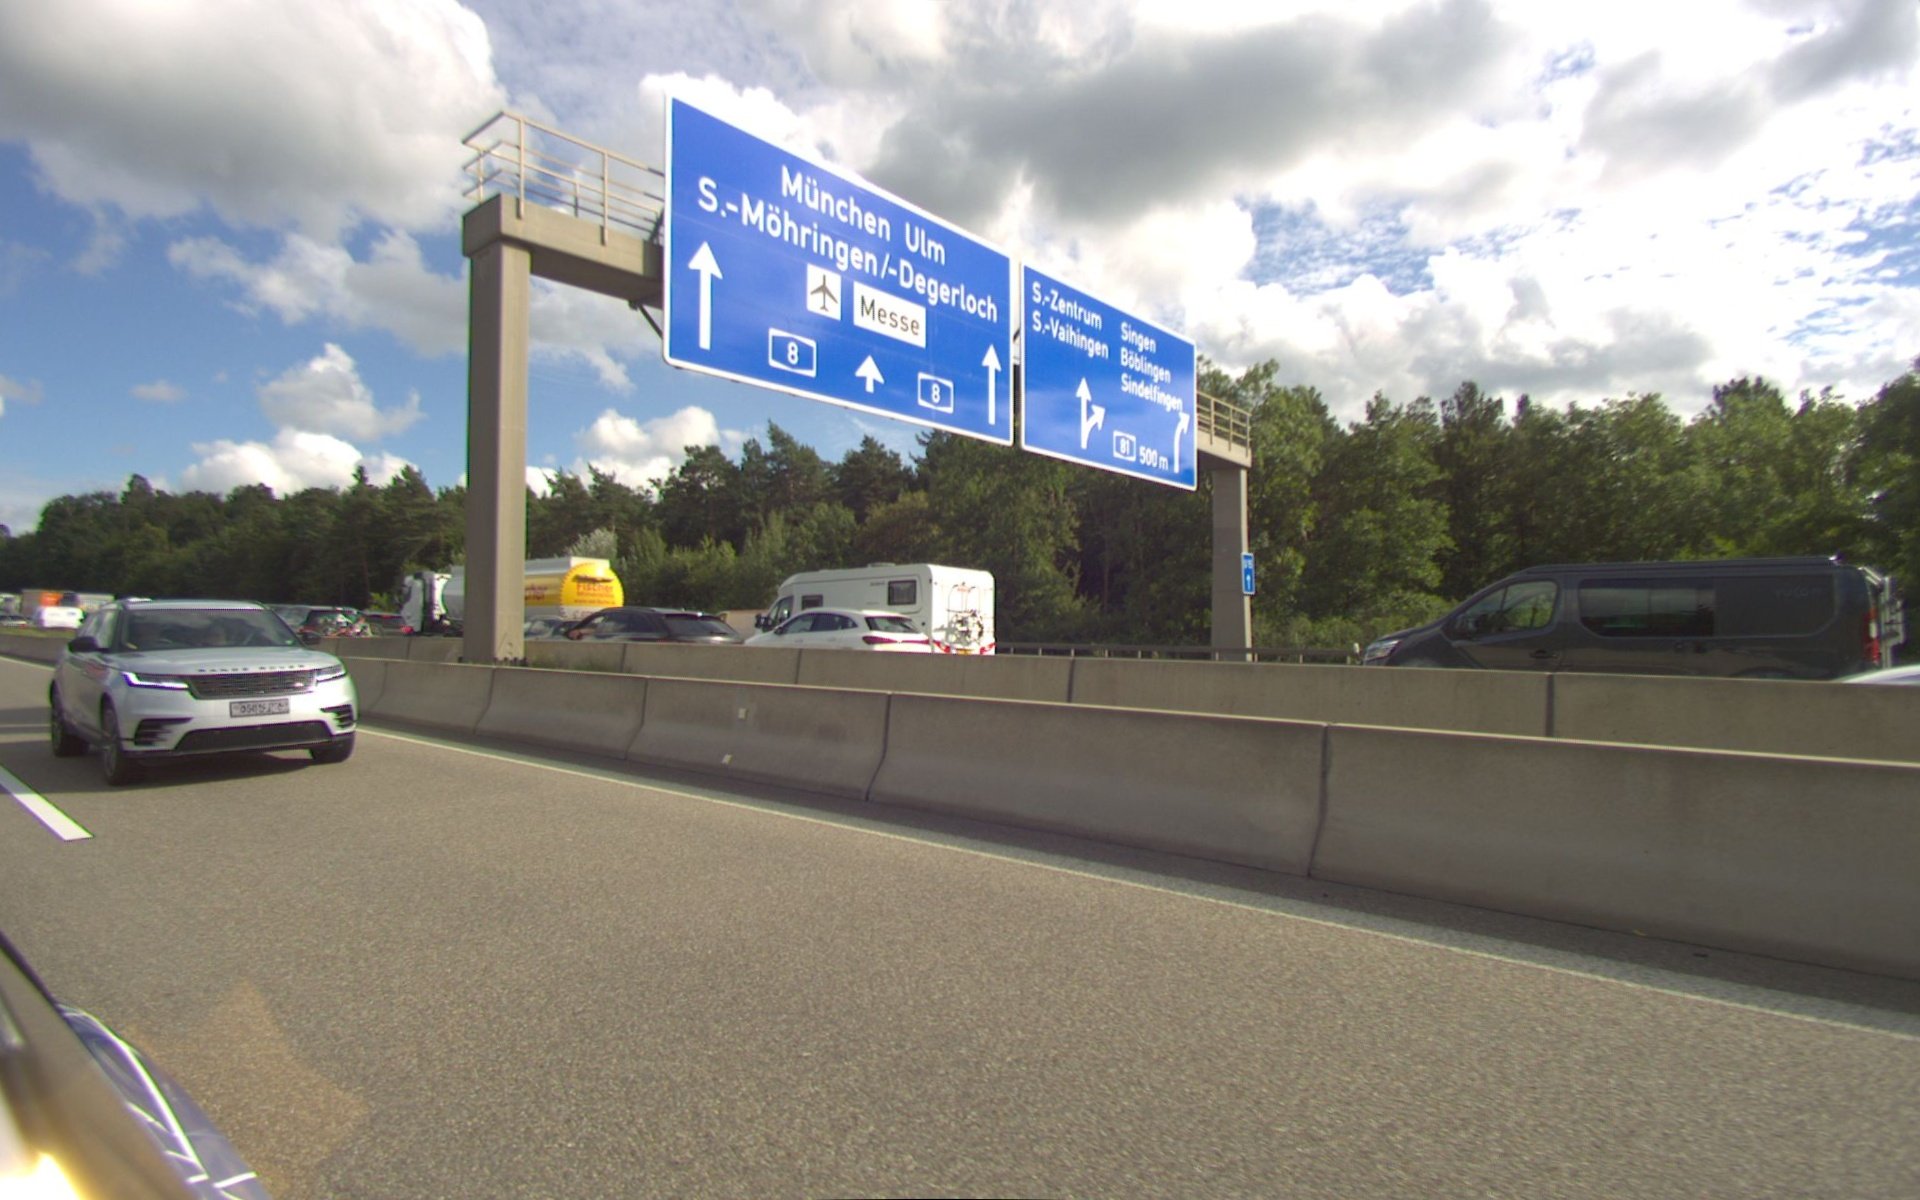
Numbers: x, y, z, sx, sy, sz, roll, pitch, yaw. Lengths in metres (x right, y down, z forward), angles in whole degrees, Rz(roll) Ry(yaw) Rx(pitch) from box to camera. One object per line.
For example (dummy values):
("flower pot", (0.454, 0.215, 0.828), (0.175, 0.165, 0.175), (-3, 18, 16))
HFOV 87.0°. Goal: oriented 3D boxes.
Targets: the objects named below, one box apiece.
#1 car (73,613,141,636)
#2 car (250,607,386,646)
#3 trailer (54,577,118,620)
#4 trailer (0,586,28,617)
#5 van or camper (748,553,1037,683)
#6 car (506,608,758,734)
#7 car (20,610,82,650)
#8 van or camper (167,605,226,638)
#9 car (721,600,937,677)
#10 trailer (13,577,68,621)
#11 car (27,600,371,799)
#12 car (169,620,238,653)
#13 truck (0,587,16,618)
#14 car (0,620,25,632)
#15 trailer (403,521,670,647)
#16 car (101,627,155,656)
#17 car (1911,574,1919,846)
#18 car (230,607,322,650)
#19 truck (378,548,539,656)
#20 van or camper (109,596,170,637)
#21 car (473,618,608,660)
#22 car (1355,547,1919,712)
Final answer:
("car", (-37.947, 1.064, 44.991), (4.485, 0.947, 1.626), (-1, 0, 40))
("car", (-17.534, 0.701, 27.523), (5.460, 0.934, 1.650), (-1, 0, 41))
("trailer", (-78.548, -0.139, 90.865), (10.215, 3.686, 2.858), (0, 0, 41))
("trailer", (-115.400, 0.166, 122.143), (12.225, 3.524, 2.919), (0, 0, 41))
("van or camper", (-1.827, 0.364, 23.977), (7.394, 2.662, 2.300), (0, 0, 41))
("car", (-5.644, 1.073, 17.037), (4.935, 1.812, 1.749), (-1, 0, 41))
("car", (-50.071, 1.626, 55.714), (5.497, 2.078, 1.813), (-1, -2, 41))
("van or camper", (-49.012, 1.346, 64.952), (4.688, 2.026, 2.258), (-1, 0, 43))
("car", (-2.642, 0.709, 19.701), (4.534, 1.334, 1.547), (-1, 0, 41))
("trailer", (-96.359, -0.045, 105.923), (13.170, 4.352, 2.612), (0, -2, 41))
("car", (-8.156, 0.857, 10.632), (5.103, 1.619, 1.880), (-1, -1, 41))
("car", (-37.228, 1.764, 49.753), (4.240, 1.549, 1.813), (-1, 0, 40))
("truck", (-120.451, 0.335, 126.529), (5.106, 3.775, 2.926), (-1, -1, 41))
("car", (-62.303, 1.683, 65.895), (4.444, 0.730, 1.630), (-1, 0, 40))
("trailer", (-15.734, -0.391, 36.638), (13.252, 3.857, 3.376), (-1, -1, 41))
("car", (-51.558, 2.528, 62.706), (4.660, 1.644, 1.781), (-1, 1, 41))
("car", (7.757, 0.746, 5.280), (3.948, 1.890, 1.781), (-1, -1, 41))
("car", (-28.811, 1.158, 42.585), (4.779, 1.668, 1.987), (-1, 0, 40))
("truck", (-20.087, 0.118, 40.373), (6.797, 3.930, 3.382), (-1, 0, 41))
("van or camper", (-62.829, 1.224, 77.424), (7.479, 2.911, 2.444), (1, 1, 41))
("car", (-11.181, 1.002, 26.845), (4.388, 1.012, 1.524), (-1, 0, 41))
("car", (7.378, 0.291, 11.130), (5.373, 1.460, 1.769), (-1, 0, 41))
